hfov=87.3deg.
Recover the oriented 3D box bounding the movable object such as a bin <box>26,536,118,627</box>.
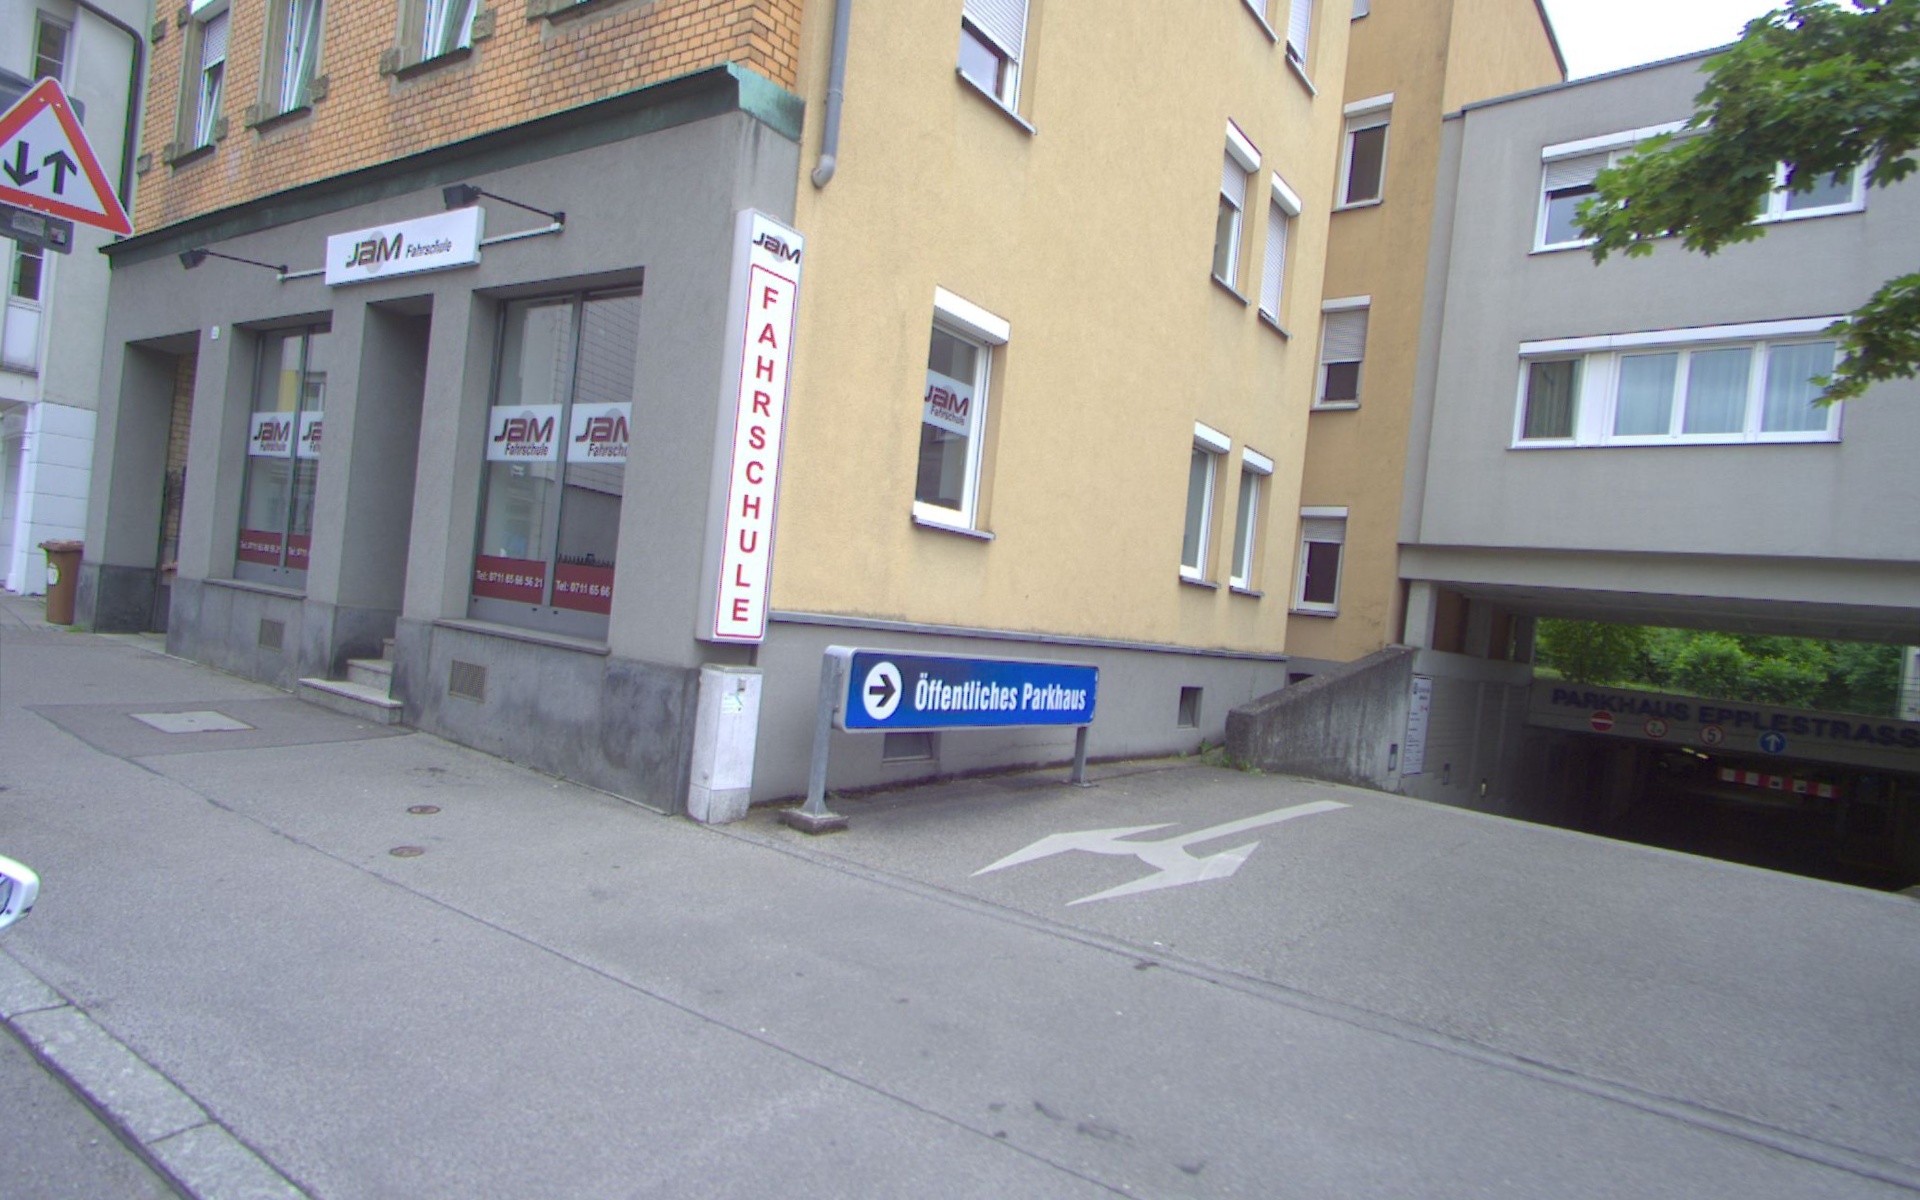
[{"bbox_3d":[-10.080,-0.208,11.421,0.572,0.932,0.619,7,1,37],"label":"movable object such as a bin"}]

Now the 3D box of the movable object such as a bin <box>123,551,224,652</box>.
[{"bbox_3d":[-8.148,0.016,10.419,0.728,0.945,0.579,7,1,36],"label":"movable object such as a bin"}]
